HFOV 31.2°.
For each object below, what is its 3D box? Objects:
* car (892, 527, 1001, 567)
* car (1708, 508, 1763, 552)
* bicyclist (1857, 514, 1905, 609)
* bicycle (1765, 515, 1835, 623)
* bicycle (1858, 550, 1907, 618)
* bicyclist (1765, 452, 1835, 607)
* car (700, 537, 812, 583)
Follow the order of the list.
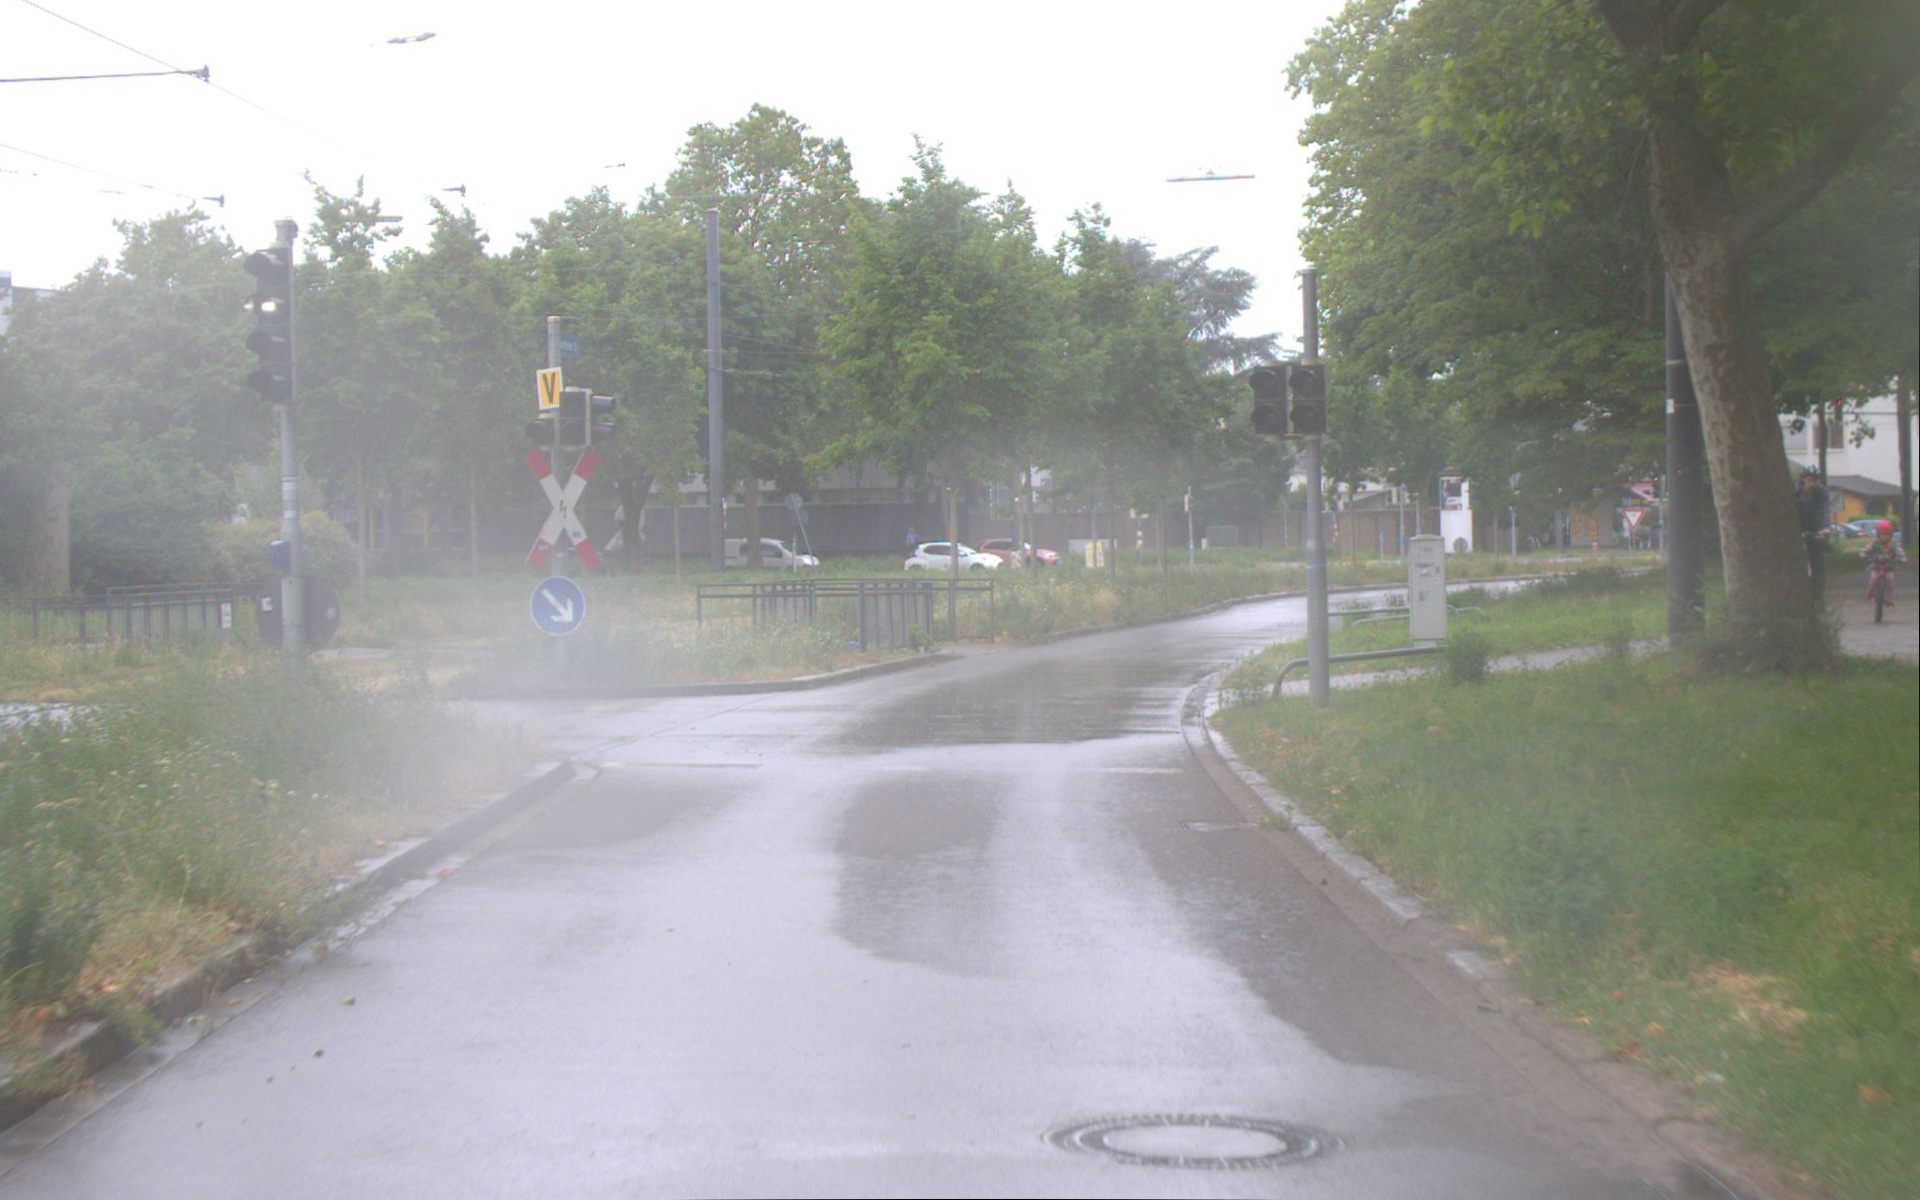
[{"bbox_3d":[-0.538,-2.150,138.375,4.068,1.494,1.651,-1,1,16],"label":"car"},{"bbox_3d":[26.830,-2.424,118.871,1.685,1.415,3.813,-1,1,15],"label":"car"},{"bbox_3d":[10.299,-0.429,38.436,0.487,1.034,0.591,-1,2,14],"label":"bicyclist"},{"bbox_3d":[9.490,-0.361,38.795,0.712,1.138,1.971,-1,2,15],"label":"bicycle"},{"bbox_3d":[10.334,-0.189,38.541,0.487,0.706,1.457,-1,2,14],"label":"bicycle"},{"bbox_3d":[9.480,-0.807,38.786,0.712,1.715,0.957,-1,2,15],"label":"bicyclist"},{"bbox_3d":[-8.364,-1.634,140.809,4.213,1.790,1.651,-1,2,17],"label":"car"}]
